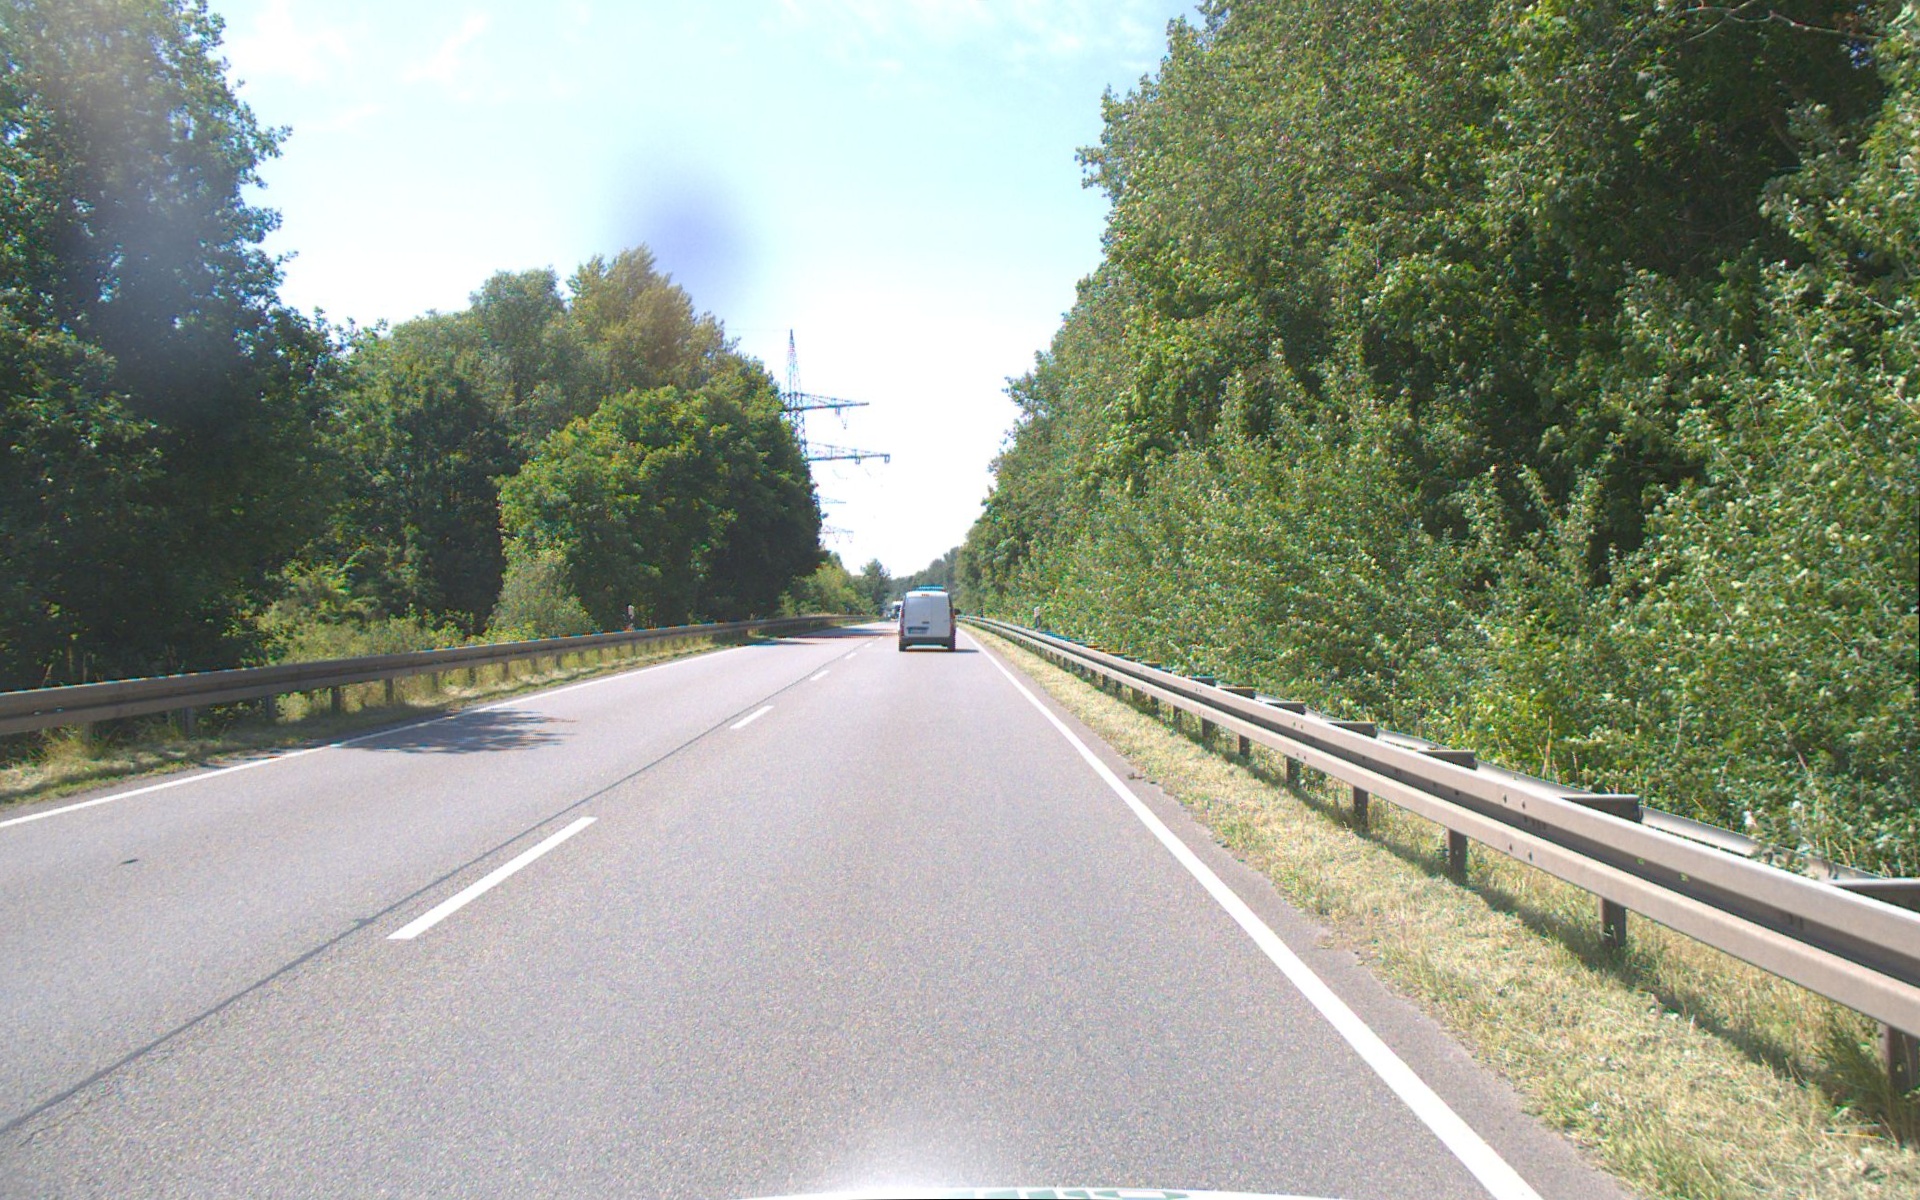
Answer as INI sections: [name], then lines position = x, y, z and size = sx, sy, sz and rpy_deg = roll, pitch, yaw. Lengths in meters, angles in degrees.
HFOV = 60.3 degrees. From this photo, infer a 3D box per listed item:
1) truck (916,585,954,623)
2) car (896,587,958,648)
[truck]
position = -2.328, 0.301, 148.725
size = 3.230, 3.227, 14.401
rpy_deg = 0, 0, -1
[car]
position = -1.009, 0.501, 50.664
size = 1.837, 1.772, 3.999
rpy_deg = 0, 0, -1
